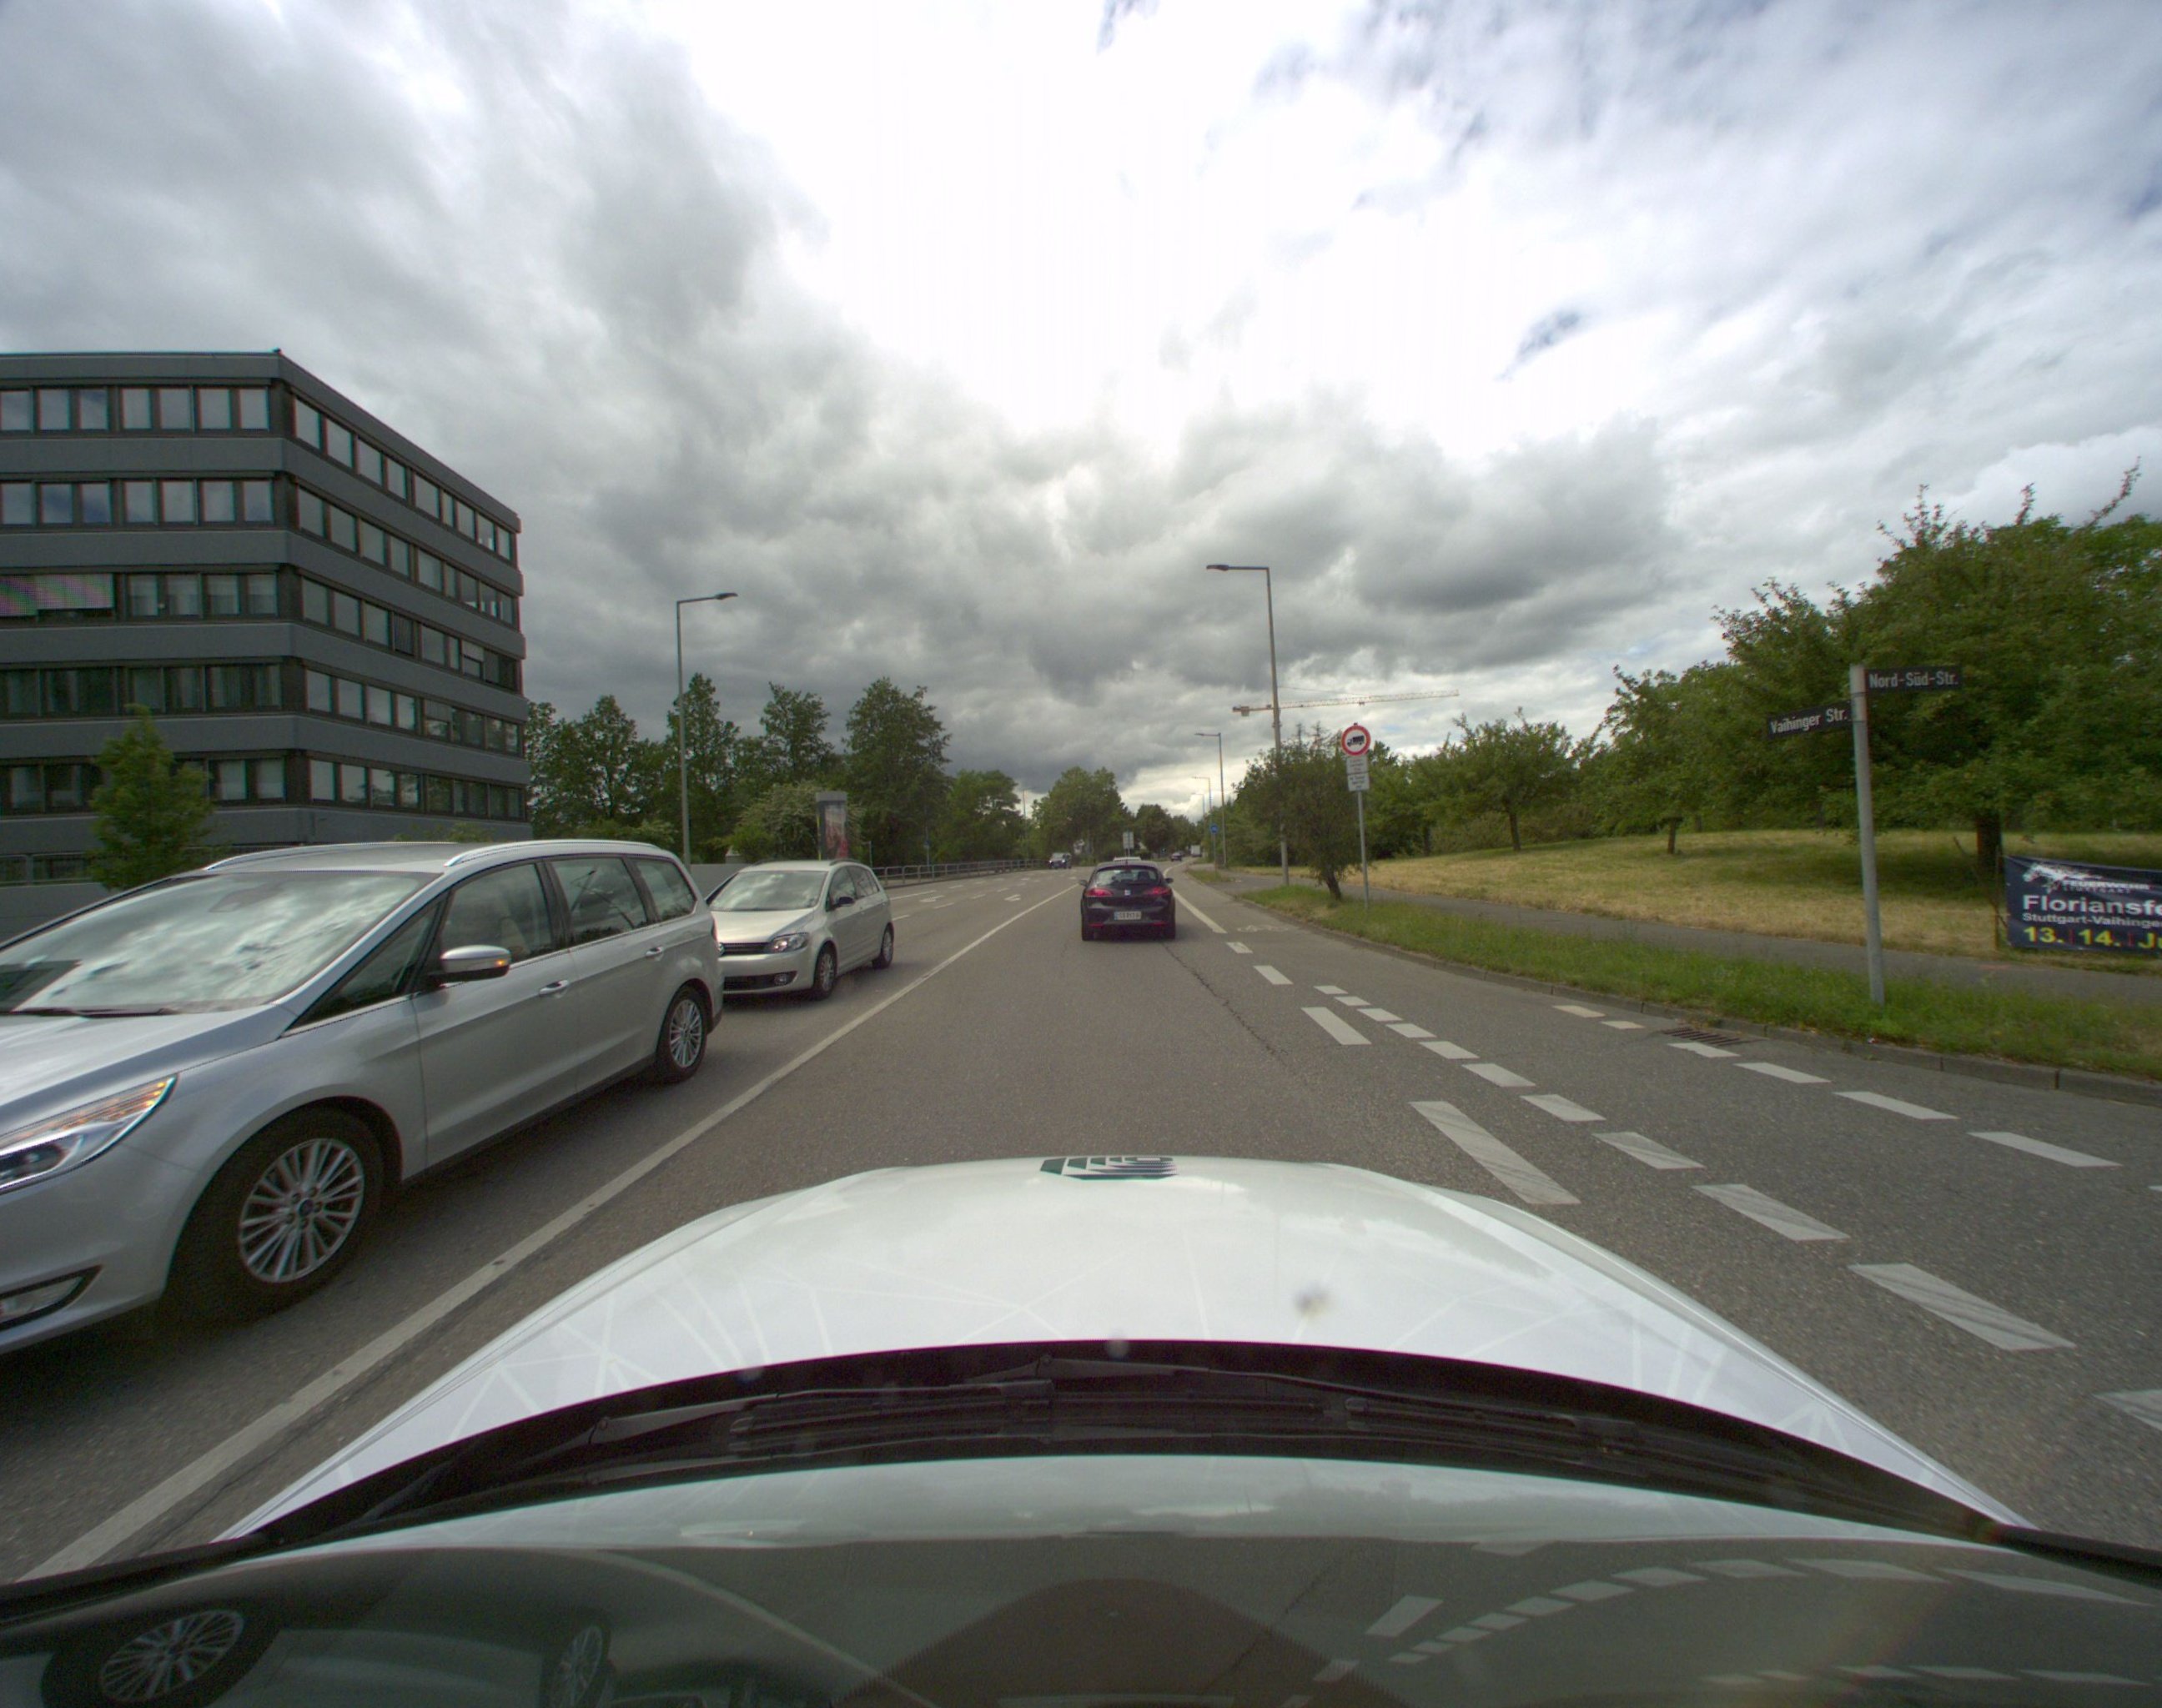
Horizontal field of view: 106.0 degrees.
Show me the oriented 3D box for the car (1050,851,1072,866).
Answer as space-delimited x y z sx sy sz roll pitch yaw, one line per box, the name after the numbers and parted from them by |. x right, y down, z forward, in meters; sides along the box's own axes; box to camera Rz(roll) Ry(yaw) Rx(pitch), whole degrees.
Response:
-2.258 0.526 92.583 1.704 1.581 3.752 -1 -1 10 | car

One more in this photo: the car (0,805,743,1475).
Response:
-3.657 0.725 4.320 1.815 1.686 4.643 -1 0 -1 | car

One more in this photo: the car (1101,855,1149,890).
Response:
1.910 0.792 36.350 1.829 1.467 3.749 -1 -1 -1 | car

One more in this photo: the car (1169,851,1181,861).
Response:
16.295 0.361 141.133 1.982 1.565 4.481 -2 0 8 | car

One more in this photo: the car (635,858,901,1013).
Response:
-3.621 0.832 10.288 1.654 1.518 4.086 -1 0 2 | car

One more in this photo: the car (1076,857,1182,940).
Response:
0.830 0.786 15.927 1.707 1.417 3.456 -1 0 -2 | car

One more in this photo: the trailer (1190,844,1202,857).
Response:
29.269 -0.927 206.555 2.473 3.073 5.607 -1 -1 14 | trailer
